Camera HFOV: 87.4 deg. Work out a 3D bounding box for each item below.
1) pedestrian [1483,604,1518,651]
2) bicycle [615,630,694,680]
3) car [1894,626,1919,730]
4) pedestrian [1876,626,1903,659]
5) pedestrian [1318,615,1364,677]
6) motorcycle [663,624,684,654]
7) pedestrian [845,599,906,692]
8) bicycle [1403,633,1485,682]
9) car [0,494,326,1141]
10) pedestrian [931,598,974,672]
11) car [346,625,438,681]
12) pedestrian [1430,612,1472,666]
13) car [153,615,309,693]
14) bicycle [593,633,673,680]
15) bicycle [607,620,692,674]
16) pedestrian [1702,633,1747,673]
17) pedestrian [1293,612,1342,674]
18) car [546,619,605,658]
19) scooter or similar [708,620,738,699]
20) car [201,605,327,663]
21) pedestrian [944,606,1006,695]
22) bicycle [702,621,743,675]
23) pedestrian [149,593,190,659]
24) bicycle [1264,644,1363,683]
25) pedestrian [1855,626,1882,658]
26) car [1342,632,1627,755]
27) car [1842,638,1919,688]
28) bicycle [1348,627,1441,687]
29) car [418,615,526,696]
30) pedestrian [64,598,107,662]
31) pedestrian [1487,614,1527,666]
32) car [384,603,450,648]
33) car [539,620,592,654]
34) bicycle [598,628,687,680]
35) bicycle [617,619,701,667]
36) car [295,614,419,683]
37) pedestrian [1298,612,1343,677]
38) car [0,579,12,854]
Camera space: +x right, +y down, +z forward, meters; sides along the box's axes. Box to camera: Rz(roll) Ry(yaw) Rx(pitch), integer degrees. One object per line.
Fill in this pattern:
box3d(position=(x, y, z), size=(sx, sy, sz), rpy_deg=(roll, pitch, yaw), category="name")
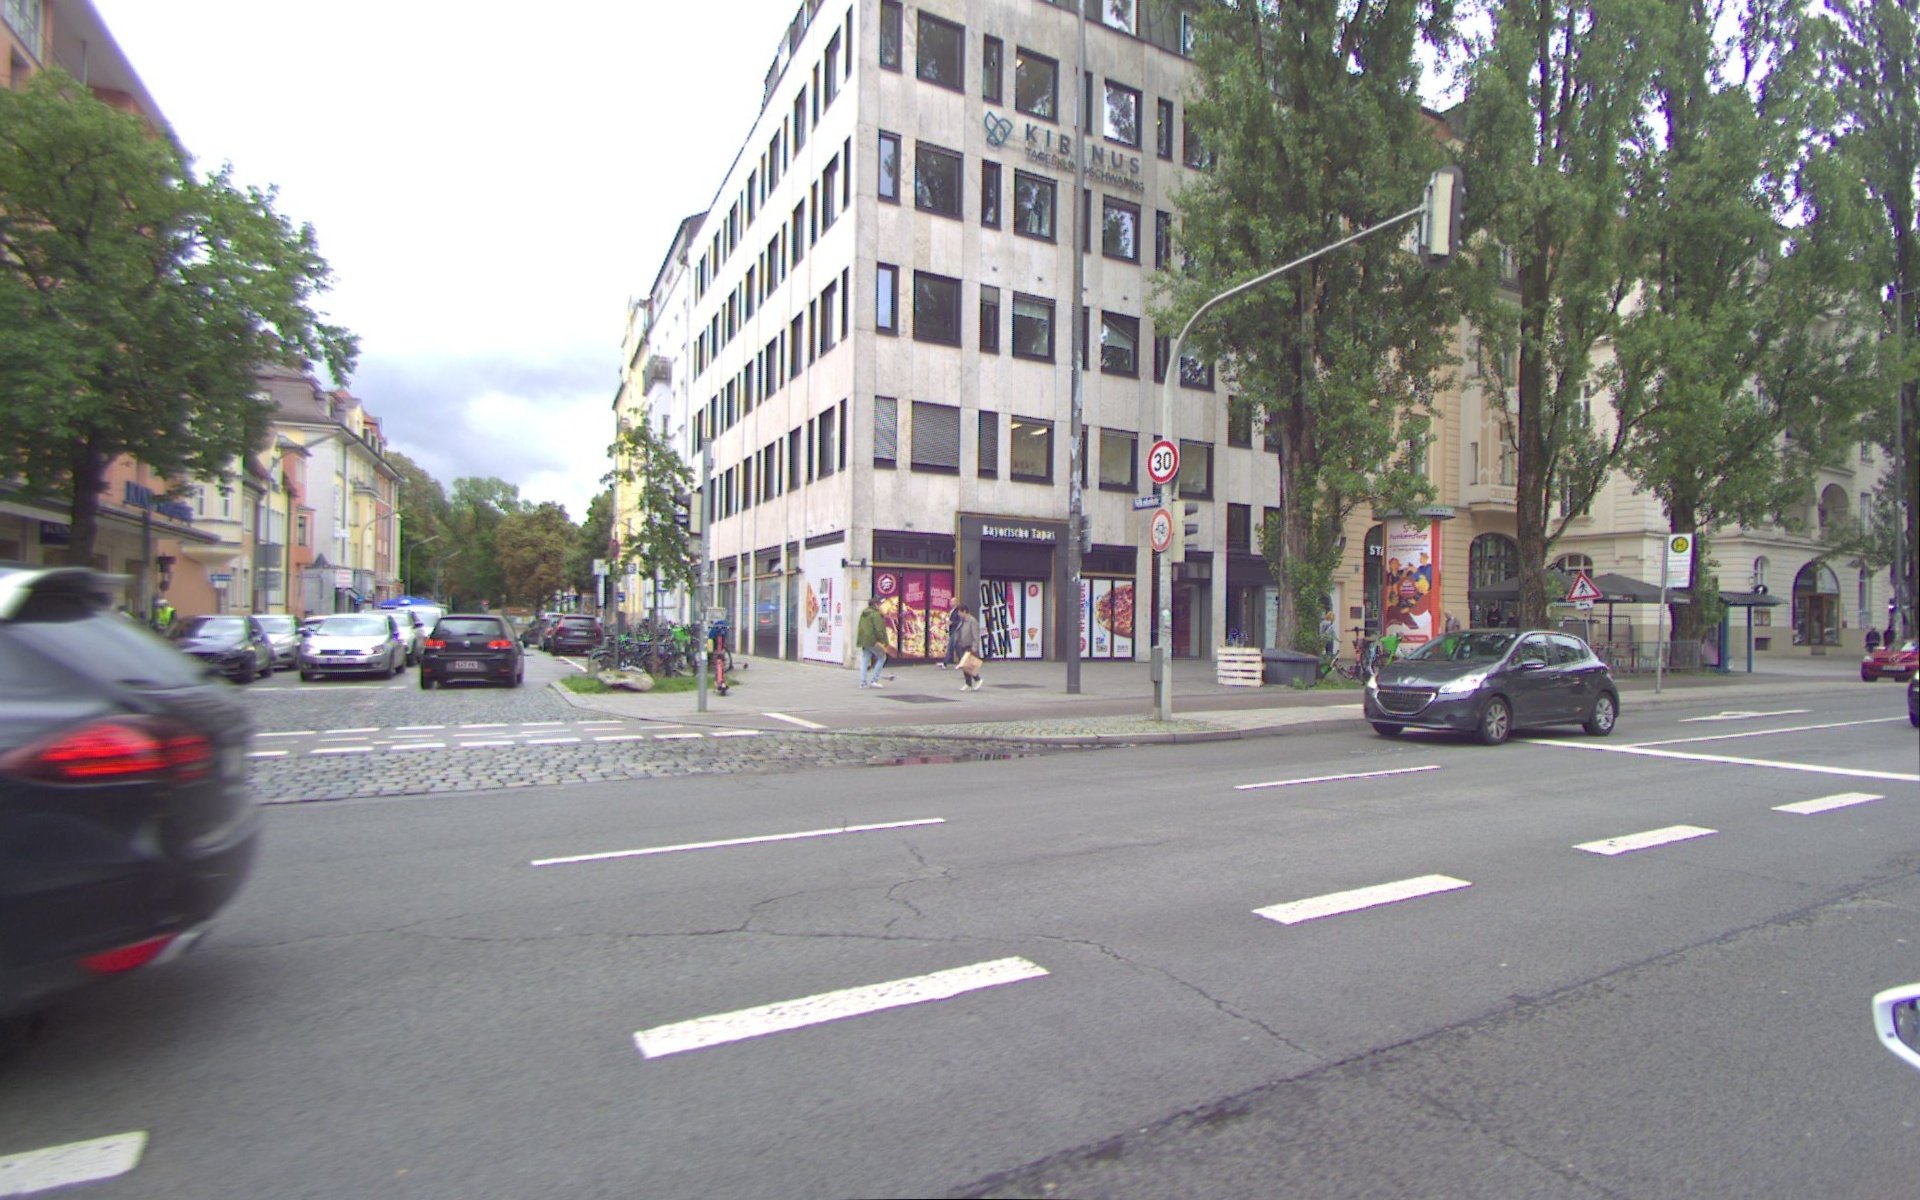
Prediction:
box3d(position=(20.913, 1.054, 38.859), size=(0.809, 1.767, 0.903), rpy_deg=(1, -1, -25), category="pedestrian")
box3d(position=(-7.643, 1.351, 25.214), size=(0.410, 1.200, 1.999), rpy_deg=(0, -1, 40), category="bicycle")
box3d(position=(15.863, 1.170, 15.221), size=(3.652, 1.515, 1.554), rpy_deg=(1, -2, -31), category="car")
box3d(position=(44.822, 2.055, 48.444), size=(0.795, 1.558, 0.765), rpy_deg=(1, -1, -30), category="pedestrian")
box3d(position=(10.700, 1.281, 28.207), size=(0.966, 1.704, 0.728), rpy_deg=(1, 1, -30), category="pedestrian")
box3d(position=(-13.107, 1.774, 45.896), size=(0.550, 1.305, 2.126), rpy_deg=(1, -1, -25), category="motorcycle")
box3d(position=(-1.654, 0.888, 19.740), size=(0.931, 1.763, 0.723), rpy_deg=(2, 0, -31), category="pedestrian")
box3d(position=(11.753, 1.392, 24.396), size=(1.776, 1.102, 0.507), rpy_deg=(2, 0, -7), category="bicycle")
box3d(position=(-4.432, 0.571, 2.786), size=(4.386, 1.769, 1.876), rpy_deg=(1, -1, -30), category="car")
box3d(position=(-0.189, 0.862, 24.901), size=(0.810, 1.811, 0.696), rpy_deg=(1, 0, -29), category="pedestrian")
box3d(position=(-16.316, 1.477, 29.034), size=(1.716, 1.439, 3.980), rpy_deg=(1, -1, -21), category="car")
box3d(position=(16.369, 1.291, 33.509), size=(0.943, 1.767, 0.840), rpy_deg=(2, 0, -29), category="pedestrian")
box3d(position=(-15.831, 1.119, 22.059), size=(1.755, 1.439, 3.980), rpy_deg=(2, 0, -21), category="car")
box3d(position=(-8.657, 1.478, 26.662), size=(0.444, 1.200, 2.051), rpy_deg=(0, -1, 44), category="bicycle")
box3d(position=(-7.102, 1.064, 23.030), size=(1.836, 1.200, 0.412), rpy_deg=(1, -1, -37), category="bicycle")
box3d(position=(25.431, 1.754, 33.430), size=(0.747, 1.273, 0.957), rpy_deg=(1, -1, -27), category="pedestrian")
box3d(position=(9.424, 1.122, 26.491), size=(0.978, 1.588, 0.747), rpy_deg=(2, 0, -31), category="pedestrian")
box3d(position=(-15.497, 1.524, 40.395), size=(1.973, 1.490, 3.976), rpy_deg=(0, -2, -25), category="car")
box3d(position=(-4.280, 1.056, 18.183), size=(0.430, 1.357, 1.363), rpy_deg=(1, -1, -9), category="scooter or similar")
box3d(position=(-18.650, 0.887, 27.102), size=(1.863, 1.439, 3.929), rpy_deg=(1, -1, -21), category="car")
box3d(position=(0.282, 0.946, 19.078), size=(0.924, 1.640, 0.774), rpy_deg=(1, -1, -31), category="pedestrian")
box3d(position=(-5.989, 1.177, 25.236), size=(0.550, 1.266, 2.126), rpy_deg=(1, -1, -25), category="bicycle")
box3d(position=(-21.649, 0.708, 27.530), size=(0.772, 1.790, 0.659), rpy_deg=(1, -1, -31), category="pedestrian")
box3d(position=(8.068, 1.439, 22.960), size=(1.926, 0.515, 0.830), rpy_deg=(2, -21, 42), category="bicycle")
box3d(position=(44.668, 2.054, 49.383), size=(0.795, 1.558, 0.765), rpy_deg=(1, -1, -30), category="pedestrian")
box3d(position=(7.150, 1.170, 13.619), size=(3.951, 1.458, 1.633), rpy_deg=(1, -2, -31), category="car")
box3d(position=(27.355, 1.758, 28.752), size=(4.043, 1.315, 1.872), rpy_deg=(1, -1, -28), category="car")
box3d(position=(10.233, 1.334, 23.709), size=(1.915, 1.307, 0.508), rpy_deg=(2, 0, 18), category="bicycle")
box3d(position=(-10.186, 1.073, 20.826), size=(1.752, 1.494, 3.674), rpy_deg=(1, -1, -30), category="car")
box3d(position=(-23.441, 0.799, 26.937), size=(0.721, 1.664, 0.733), rpy_deg=(2, 0, -30), category="pedestrian")
box3d(position=(19.353, 1.415, 35.555), size=(0.809, 1.767, 0.903), rpy_deg=(2, 0, -25), category="pedestrian")
box3d(position=(-18.951, 0.876, 35.195), size=(1.762, 1.439, 4.043), rpy_deg=(2, -1, -25), category="car")
box3d(position=(-17.783, 1.635, 45.158), size=(1.973, 1.439, 3.975), rpy_deg=(1, -1, -25), category="car")
box3d(position=(-7.573, 1.268, 24.024), size=(2.014, 1.200, 0.412), rpy_deg=(1, -1, -37), category="bicycle")
box3d(position=(-7.785, 1.114, 26.029), size=(2.028, 1.200, 0.415), rpy_deg=(1, -1, -14), category="bicycle")
box3d(position=(-13.897, 1.060, 23.367), size=(1.755, 1.439, 3.980), rpy_deg=(1, -1, -21), category="car")
box3d(position=(10.372, 1.278, 28.924), size=(0.901, 1.811, 0.796), rpy_deg=(1, 1, -30), category="pedestrian")
box3d(position=(-7.636, 0.672, 4.487), size=(4.581, 1.738, 1.829), rpy_deg=(1, -2, -30), category="car")
